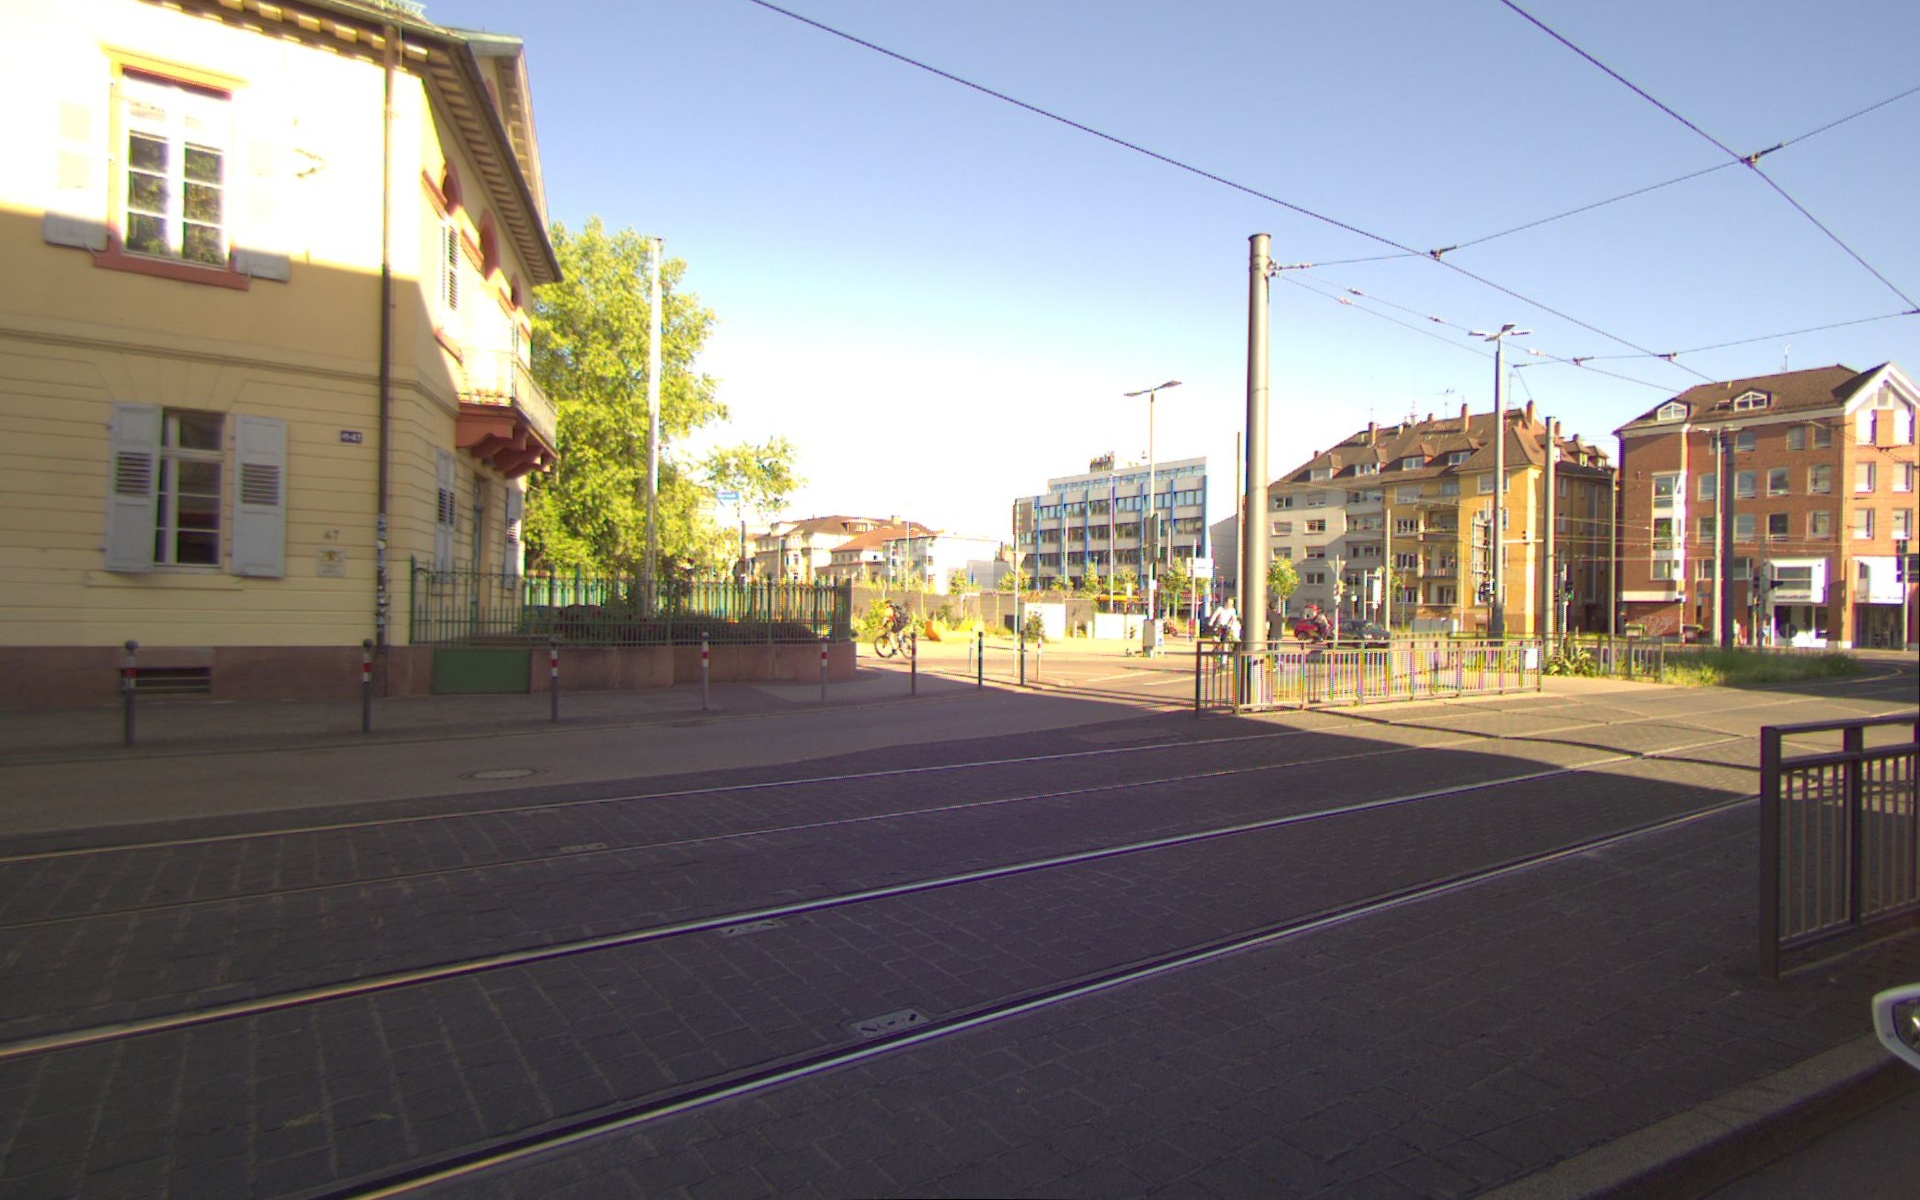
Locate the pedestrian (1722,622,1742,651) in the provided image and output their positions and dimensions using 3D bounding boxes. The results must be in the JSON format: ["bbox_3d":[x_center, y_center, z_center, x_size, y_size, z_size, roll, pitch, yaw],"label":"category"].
[{"bbox_3d":[50.711,2.379,65.968,0.737,1.845,0.781,2,0,-28],"label":"pedestrian"}]

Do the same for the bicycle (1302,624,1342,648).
[{"bbox_3d":[20.679,2.054,57.426,0.542,1.230,2.168,2,0,-41],"label":"bicycle"}]

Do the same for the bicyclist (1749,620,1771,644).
[{"bbox_3d":[50.306,1.997,63.161,0.958,1.490,0.702,1,0,-22],"label":"bicyclist"}]

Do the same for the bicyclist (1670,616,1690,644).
[{"bbox_3d":[39.670,1.646,55.364,0.688,1.523,0.630,2,0,-30],"label":"bicyclist"}]

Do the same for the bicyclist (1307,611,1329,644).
[{"bbox_3d":[20.515,1.581,57.592,0.785,1.832,0.892,2,0,-42],"label":"bicyclist"}]

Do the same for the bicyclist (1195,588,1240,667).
[{"bbox_3d":[5.949,0.631,23.254,0.744,1.783,0.752,2,0,-7],"label":"bicyclist"}]

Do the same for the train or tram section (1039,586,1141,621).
[{"bbox_3d":[12.918,0.287,100.986,2.782,3.172,11.136,2,0,-40],"label":"train or tram section"}]

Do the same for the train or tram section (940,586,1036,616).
[{"bbox_3d":[2.904,0.047,113.268,2.710,3.172,13.564,2,0,-38],"label":"train or tram section"}]

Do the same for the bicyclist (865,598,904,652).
[{"bbox_3d":[-2.186,0.715,29.178,1.023,1.542,0.392,2,0,18],"label":"bicyclist"}]

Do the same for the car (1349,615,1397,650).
[{"bbox_3d":[20.102,1.556,49.022,1.612,1.546,3.867,2,0,14],"label":"car"}]

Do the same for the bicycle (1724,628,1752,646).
[{"bbox_3d":[45.614,2.171,58.897,2.220,0.984,0.521,2,0,-31],"label":"bicycle"}]

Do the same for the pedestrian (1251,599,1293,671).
[{"bbox_3d":[7.552,0.849,24.346,0.760,1.703,0.592,2,0,-7],"label":"pedestrian"}]

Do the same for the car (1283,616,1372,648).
[{"bbox_3d":[21.865,1.885,59.897,1.984,1.723,4.545,2,0,-41],"label":"car"}]

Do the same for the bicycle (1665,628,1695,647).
[{"bbox_3d":[39.702,2.064,55.386,2.220,0.984,0.444,2,0,-31],"label":"bicycle"}]

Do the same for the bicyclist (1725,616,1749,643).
[{"bbox_3d":[45.543,1.741,58.865,0.688,1.523,0.894,2,0,-30],"label":"bicyclist"}]

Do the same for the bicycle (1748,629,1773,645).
[{"bbox_3d":[50.297,2.338,63.112,1.669,0.994,0.403,2,0,-22],"label":"bicycle"}]

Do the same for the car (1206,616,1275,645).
[{"bbox_3d":[17.998,1.941,64.579,1.762,1.694,3.955,2,0,-39],"label":"car"}]

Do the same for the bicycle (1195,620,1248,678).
[{"bbox_3d":[5.963,1.100,22.969,0.476,1.238,1.852,2,0,-8],"label":"bicycle"}]

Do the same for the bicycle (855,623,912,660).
[{"bbox_3d":[-2.224,1.206,29.177,1.570,1.007,0.404,2,0,17],"label":"bicycle"}]

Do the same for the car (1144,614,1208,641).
[{"bbox_3d":[14.738,1.871,68.570,1.895,1.708,3.916,2,0,-41],"label":"car"}]
